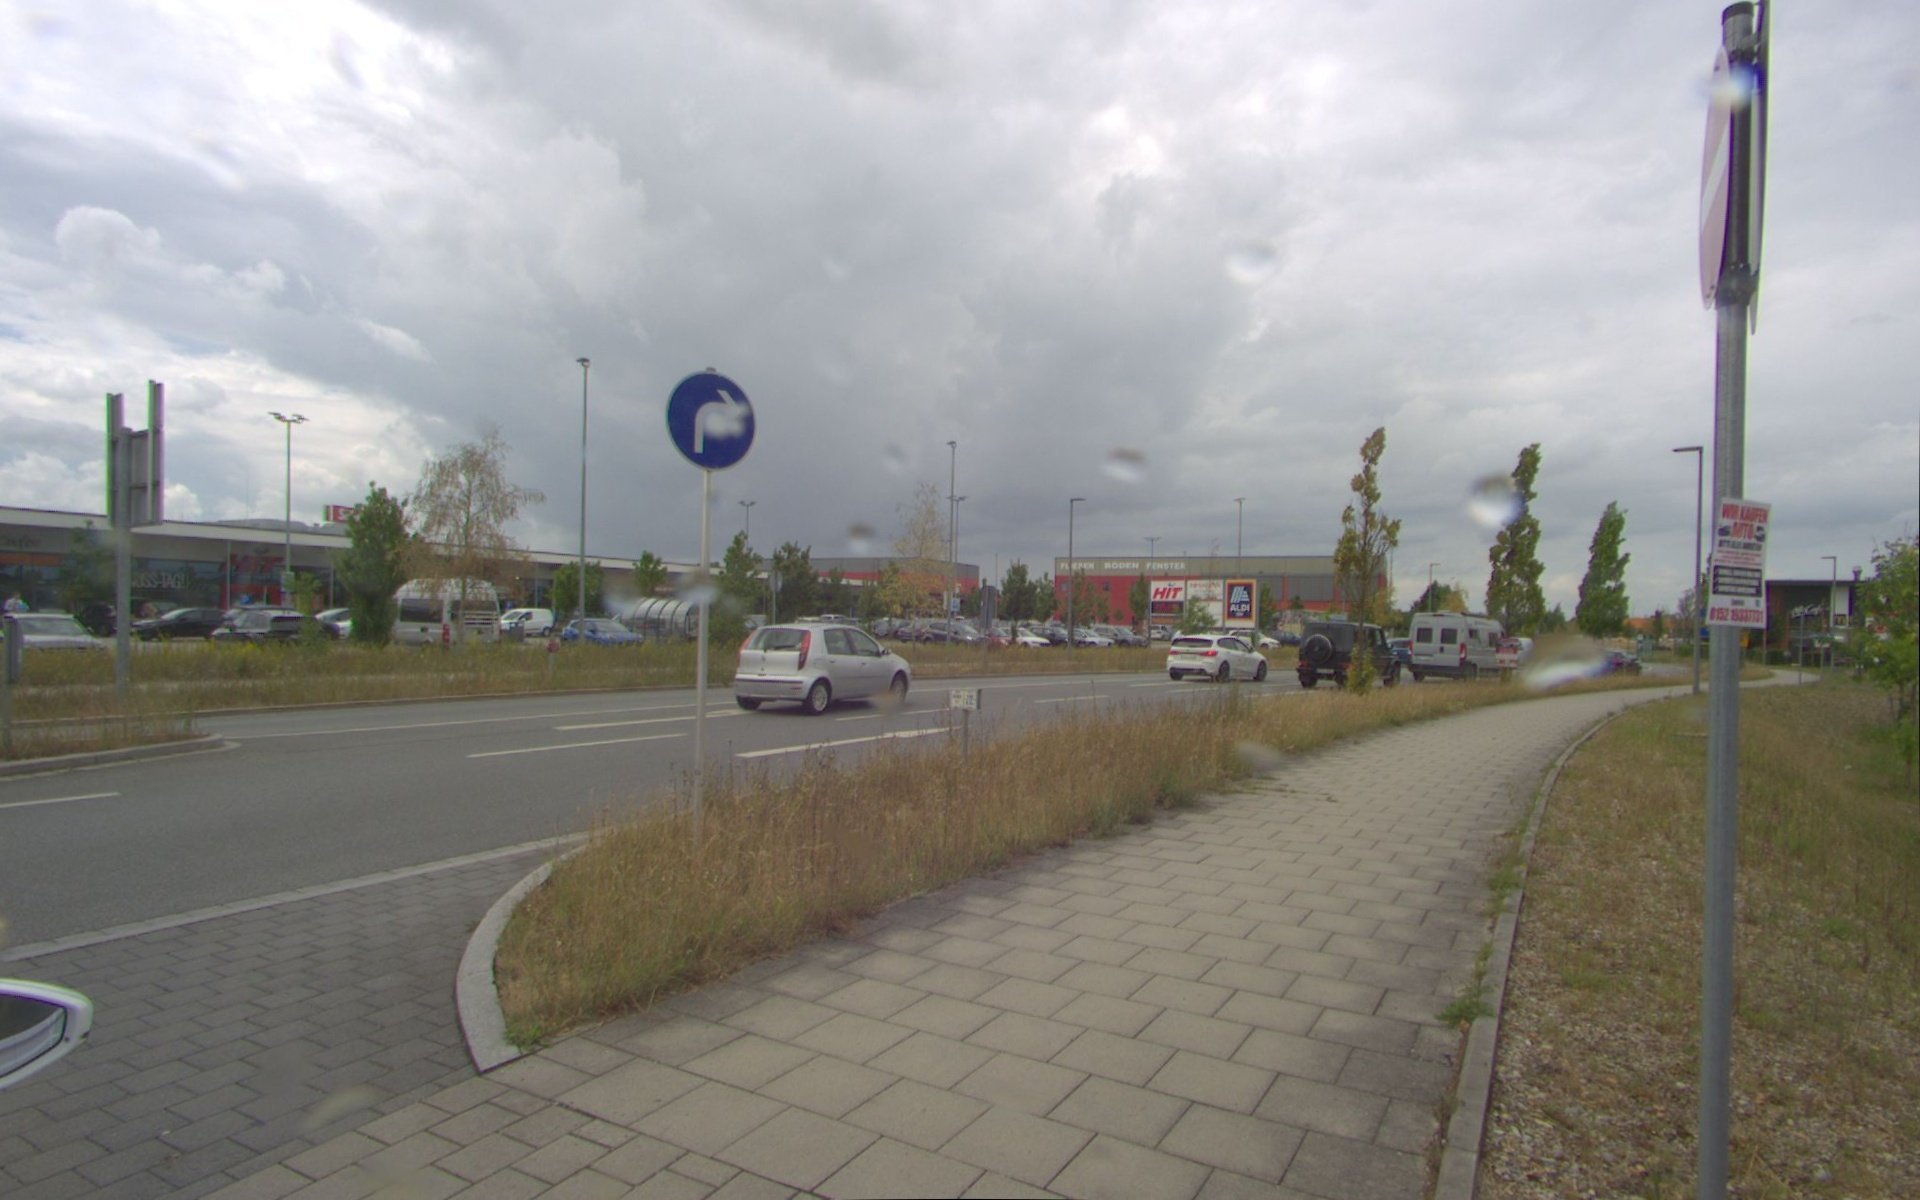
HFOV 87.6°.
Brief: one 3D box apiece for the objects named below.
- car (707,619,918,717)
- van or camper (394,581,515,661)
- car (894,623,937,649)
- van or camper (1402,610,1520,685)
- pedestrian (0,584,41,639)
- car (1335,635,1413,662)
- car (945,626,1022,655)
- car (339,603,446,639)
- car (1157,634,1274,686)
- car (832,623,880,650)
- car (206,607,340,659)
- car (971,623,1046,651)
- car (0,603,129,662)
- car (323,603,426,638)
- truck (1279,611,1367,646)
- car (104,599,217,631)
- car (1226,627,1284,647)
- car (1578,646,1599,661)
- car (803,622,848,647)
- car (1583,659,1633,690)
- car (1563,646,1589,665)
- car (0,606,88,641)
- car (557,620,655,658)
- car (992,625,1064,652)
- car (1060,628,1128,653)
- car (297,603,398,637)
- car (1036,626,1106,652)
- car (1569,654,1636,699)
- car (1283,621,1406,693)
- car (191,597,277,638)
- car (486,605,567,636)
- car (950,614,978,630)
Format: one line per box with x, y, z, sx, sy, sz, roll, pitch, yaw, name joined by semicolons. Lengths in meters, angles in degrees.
-2.443;1.098;17.489;1.772;1.480;3.803;1;-1;27;car
-17.154;0.717;33.949;3.952;2.524;2.274;0;-2;40;van or camper
-3.082;2.492;69.592;1.731;1.675;3.831;1;0;17;car
18.820;1.782;37.433;2.173;2.574;6.113;1;-2;44;van or camper
-35.875;0.438;38.229;0.989;2.040;0.863;1;0;31;pedestrian
24.072;2.817;58.291;3.943;1.394;1.856;1;-1;33;car
1.255;2.163;53.979;3.767;1.408;1.901;1;0;39;car
-26.925;1.009;47.612;1.973;1.639;3.977;1;-1;35;car
8.090;1.825;31.516;1.781;1.469;4.213;1;-1;42;car
-7.444;2.589;72.025;1.964;1.756;3.994;1;0;18;car
-20.869;0.969;30.381;4.093;1.469;1.984;0;-2;34;car
2.692;2.043;55.924;3.767;1.408;1.901;1;0;39;car
-23.693;0.825;26.158;4.093;1.402;1.984;0;-2;34;car
-29.011;1.004;49.688;1.973;1.639;3.977;1;-1;35;car
32.985;2.566;90.905;8.059;2.984;2.668;2;-1;-27;truck
-40.256;0.777;50.504;1.968;1.527;3.986;1;-1;27;car
22.991;2.907;78.101;3.951;1.460;1.986;0;-2;39;car
79.054;6.724;125.990;1.780;1.873;3.904;0;-2;25;car
-9.814;2.484;73.280;1.731;1.675;3.831;1;0;17;car
31.846;3.617;49.199;1.479;1.403;3.312;0;-2;44;car
56.541;5.085;91.890;1.882;1.589;4.313;1;-1;33;car
-43.839;1.115;47.879;3.938;1.527;1.992;1;-1;29;car
-14.099;1.543;39.822;4.100;1.402;1.797;0;-2;39;car
3.899;2.208;57.661;3.767;1.408;1.901;1;0;39;car
8.388;2.517;62.669;3.767;1.408;1.901;1;0;39;car
-31.307;1.033;51.284;1.973;1.639;3.977;1;-1;35;car
6.674;2.300;60.347;3.767;1.408;1.901;1;0;39;car
26.404;3.097;41.116;1.668;1.698;3.475;0;-2;44;car
11.642;1.694;30.118;1.976;1.948;4.813;1;-2;40;car
-31.021;0.733;42.761;3.945;1.675;1.810;1;-1;35;car
-26.722;1.282;61.863;1.967;1.842;4.417;0;-2;24;car
0.407;2.392;108.997;1.733;1.675;3.827;1;0;22;car
